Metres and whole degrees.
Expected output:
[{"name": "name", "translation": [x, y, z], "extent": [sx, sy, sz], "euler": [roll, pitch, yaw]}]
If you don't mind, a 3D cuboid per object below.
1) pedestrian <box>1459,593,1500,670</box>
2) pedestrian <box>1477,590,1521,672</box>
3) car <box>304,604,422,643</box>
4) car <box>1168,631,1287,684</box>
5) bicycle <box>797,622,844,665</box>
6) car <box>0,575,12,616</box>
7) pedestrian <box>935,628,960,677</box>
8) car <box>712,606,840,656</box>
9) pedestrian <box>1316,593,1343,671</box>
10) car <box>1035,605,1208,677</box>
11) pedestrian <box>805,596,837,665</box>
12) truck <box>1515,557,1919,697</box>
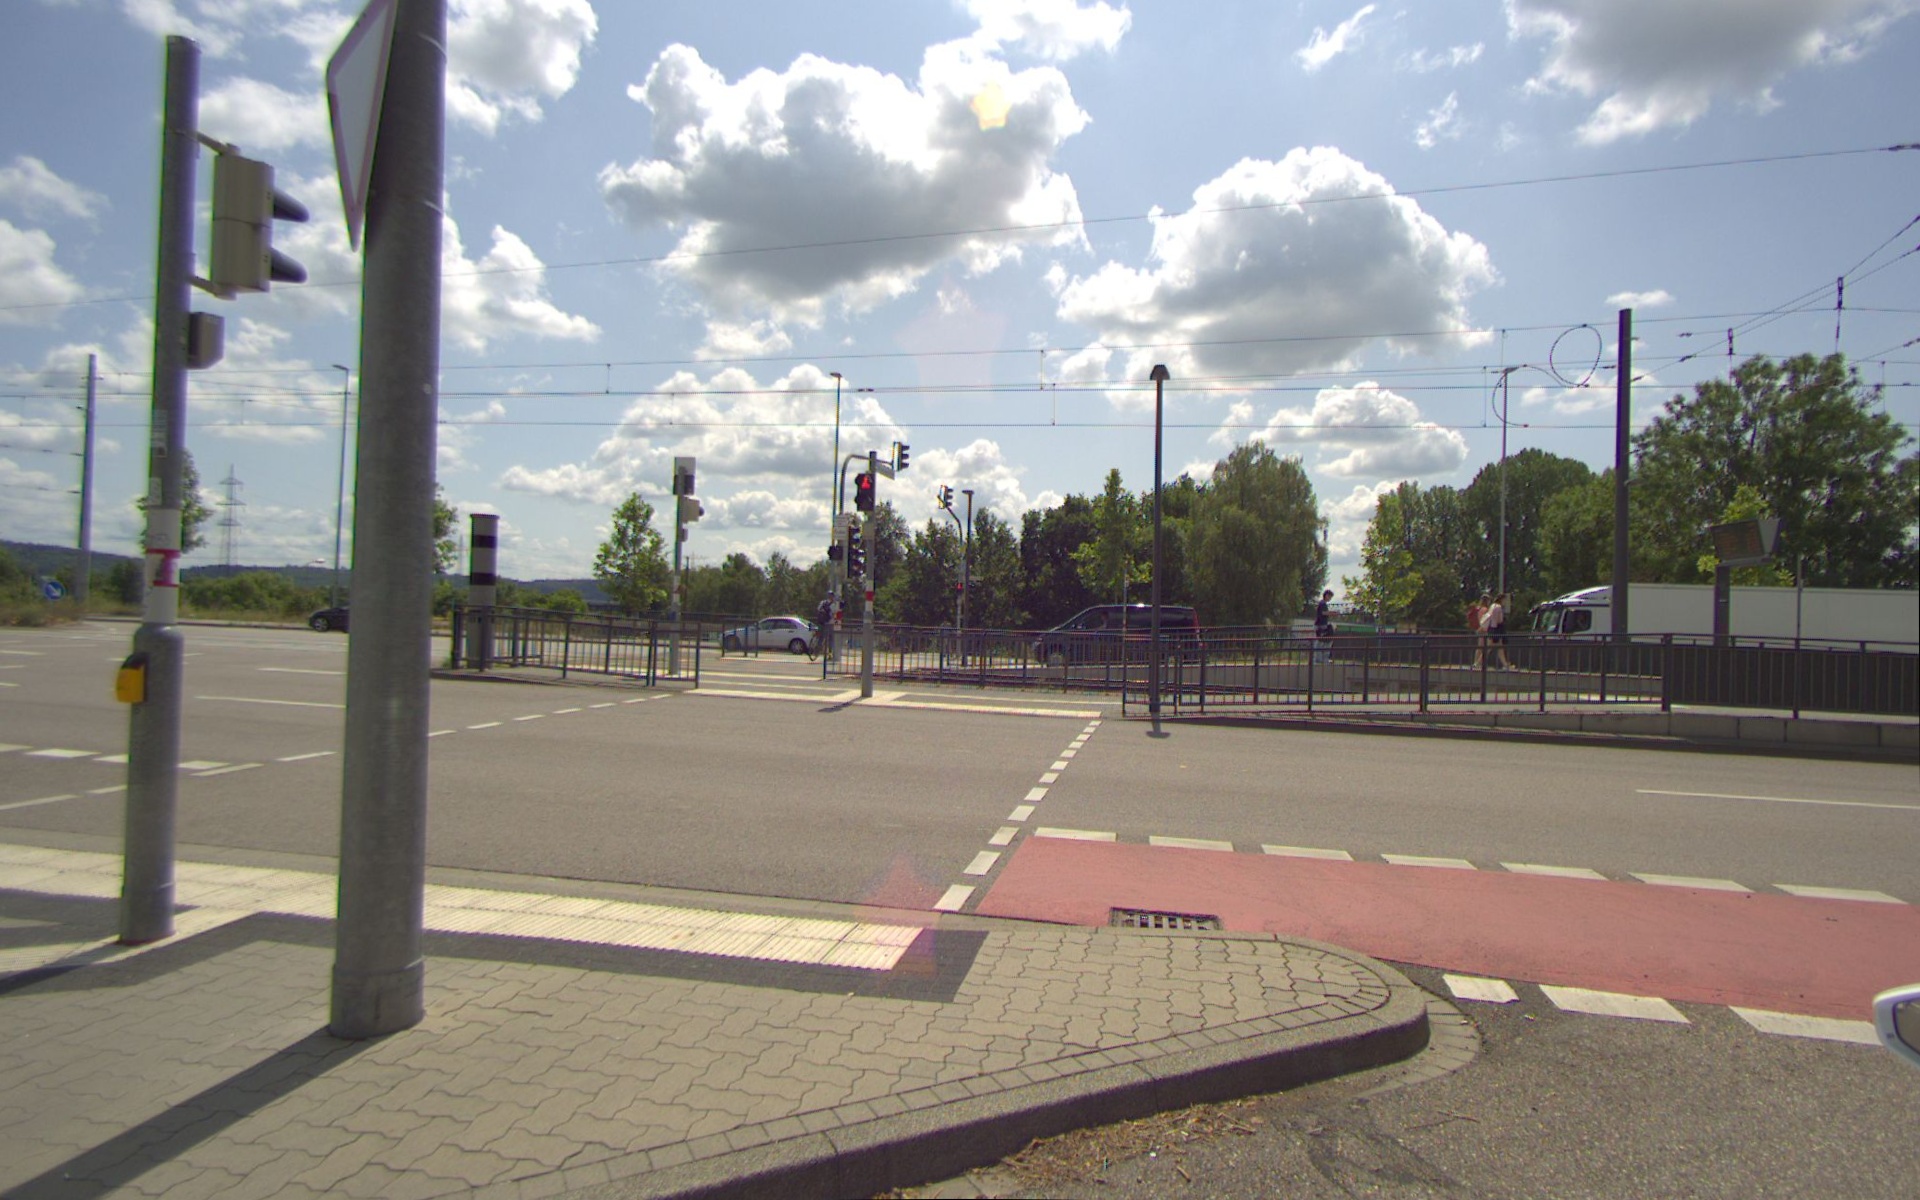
[{"name": "pedestrian", "translation": [11.940, 0.723, 23.101], "extent": [0.694, 1.744, 0.601], "euler": [1, -1, 14]}, {"name": "pedestrian", "translation": [11.926, 0.672, 22.243], "extent": [0.664, 1.772, 0.637], "euler": [2, 1, 14]}, {"name": "car", "translation": [-24.282, 0.937, 40.930], "extent": [3.814, 1.427, 1.671], "euler": [2, -1, 4]}, {"name": "car", "translation": [9.714, 2.069, 36.803], "extent": [4.076, 1.797, 1.886], "euler": [1, -1, 11]}, {"name": "bicycle", "translation": [-3.687, 1.132, 26.675], "extent": [0.608, 1.102, 1.723], "euler": [2, -1, 14]}, {"name": "car", "translation": [-42.440, -0.329, 41.820], "extent": [4.235, 1.679, 1.816], "euler": [1, -6, 5]}, {"name": "pedestrian", "translation": [-0.516, 2.234, 42.976], "extent": [0.964, 2.040, 0.903], "euler": [1, -1, 4]}, {"name": "car", "translation": [-7.181, 1.214, 39.441], "extent": [4.572, 1.797, 1.886], "euler": [1, -1, 7]}, {"name": "pedestrian", "translation": [8.429, 0.730, 22.942], "extent": [0.514, 1.744, 0.730], "euler": [1, -1, 16]}, {"name": "car", "translation": [4.525, 1.113, 28.120], "extent": [4.572, 1.844, 2.001], "euler": [1, -1, 12]}, {"name": "pedestrian", "translation": [-3.683, 0.809, 26.644], "extent": [0.600, 1.792, 0.672], "euler": [1, -1, 14]}, {"name": "truck", "translation": [25.616, 0.843, 33.751], "extent": [11.754, 4.159, 2.954], "euler": [2, -1, 13]}]
